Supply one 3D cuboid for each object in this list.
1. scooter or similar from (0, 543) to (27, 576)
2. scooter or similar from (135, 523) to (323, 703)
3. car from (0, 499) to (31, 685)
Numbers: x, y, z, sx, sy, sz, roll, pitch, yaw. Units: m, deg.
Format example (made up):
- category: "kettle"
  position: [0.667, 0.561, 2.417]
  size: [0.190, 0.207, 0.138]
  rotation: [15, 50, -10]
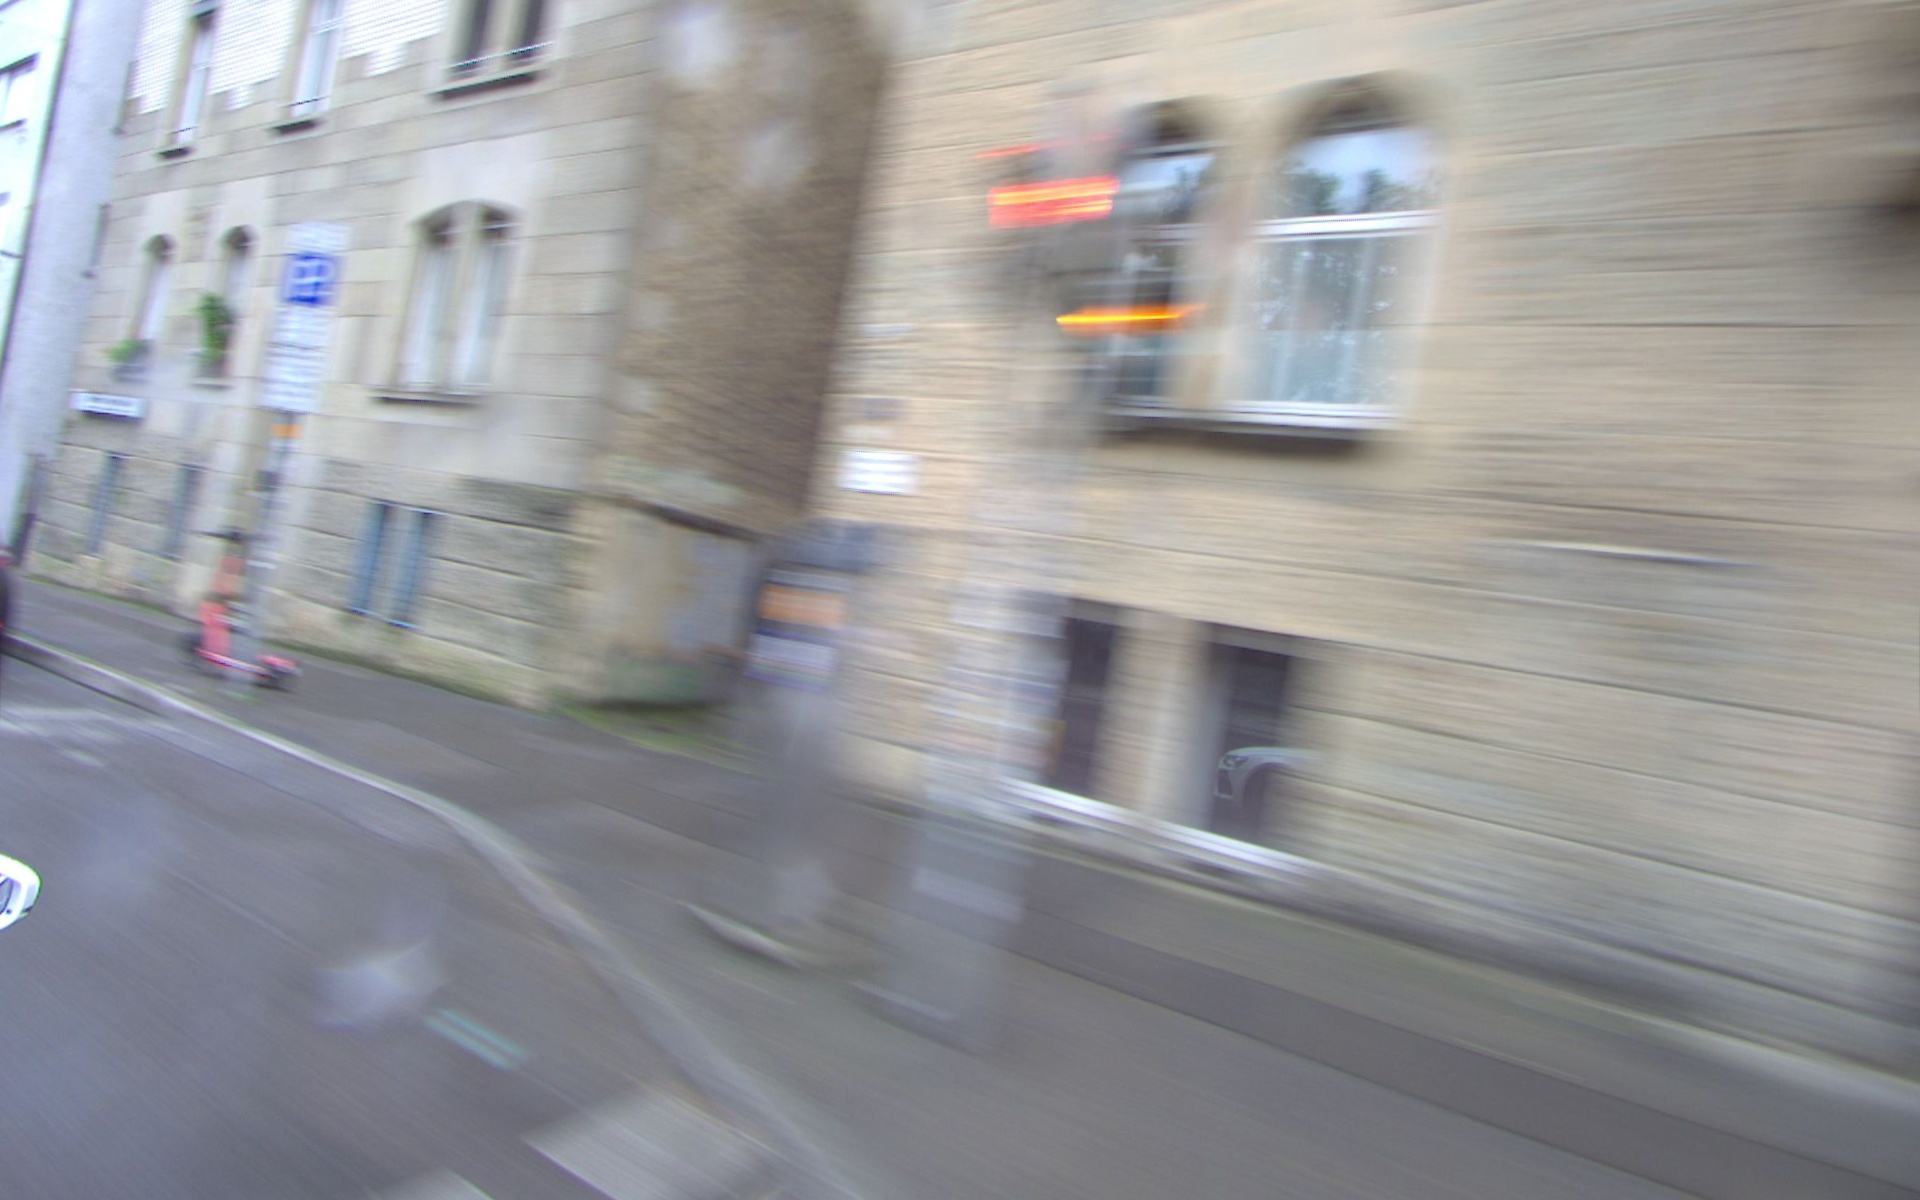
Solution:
- category: "scooter or similar"
  position: [-16.755, -0.747, 17.370]
  size: [0.852, 0.512, 0.256]
  rotation: [10, -1, -28]
- category: "scooter or similar"
  position: [-6.230, 0.099, 8.560]
  size: [1.539, 1.331, 0.367]
  rotation: [7, 0, 19]
- category: "car"
  position: [-9.455, -0.294, 8.434]
  size: [3.553, 1.469, 1.663]
  rotation: [6, -2, 36]
